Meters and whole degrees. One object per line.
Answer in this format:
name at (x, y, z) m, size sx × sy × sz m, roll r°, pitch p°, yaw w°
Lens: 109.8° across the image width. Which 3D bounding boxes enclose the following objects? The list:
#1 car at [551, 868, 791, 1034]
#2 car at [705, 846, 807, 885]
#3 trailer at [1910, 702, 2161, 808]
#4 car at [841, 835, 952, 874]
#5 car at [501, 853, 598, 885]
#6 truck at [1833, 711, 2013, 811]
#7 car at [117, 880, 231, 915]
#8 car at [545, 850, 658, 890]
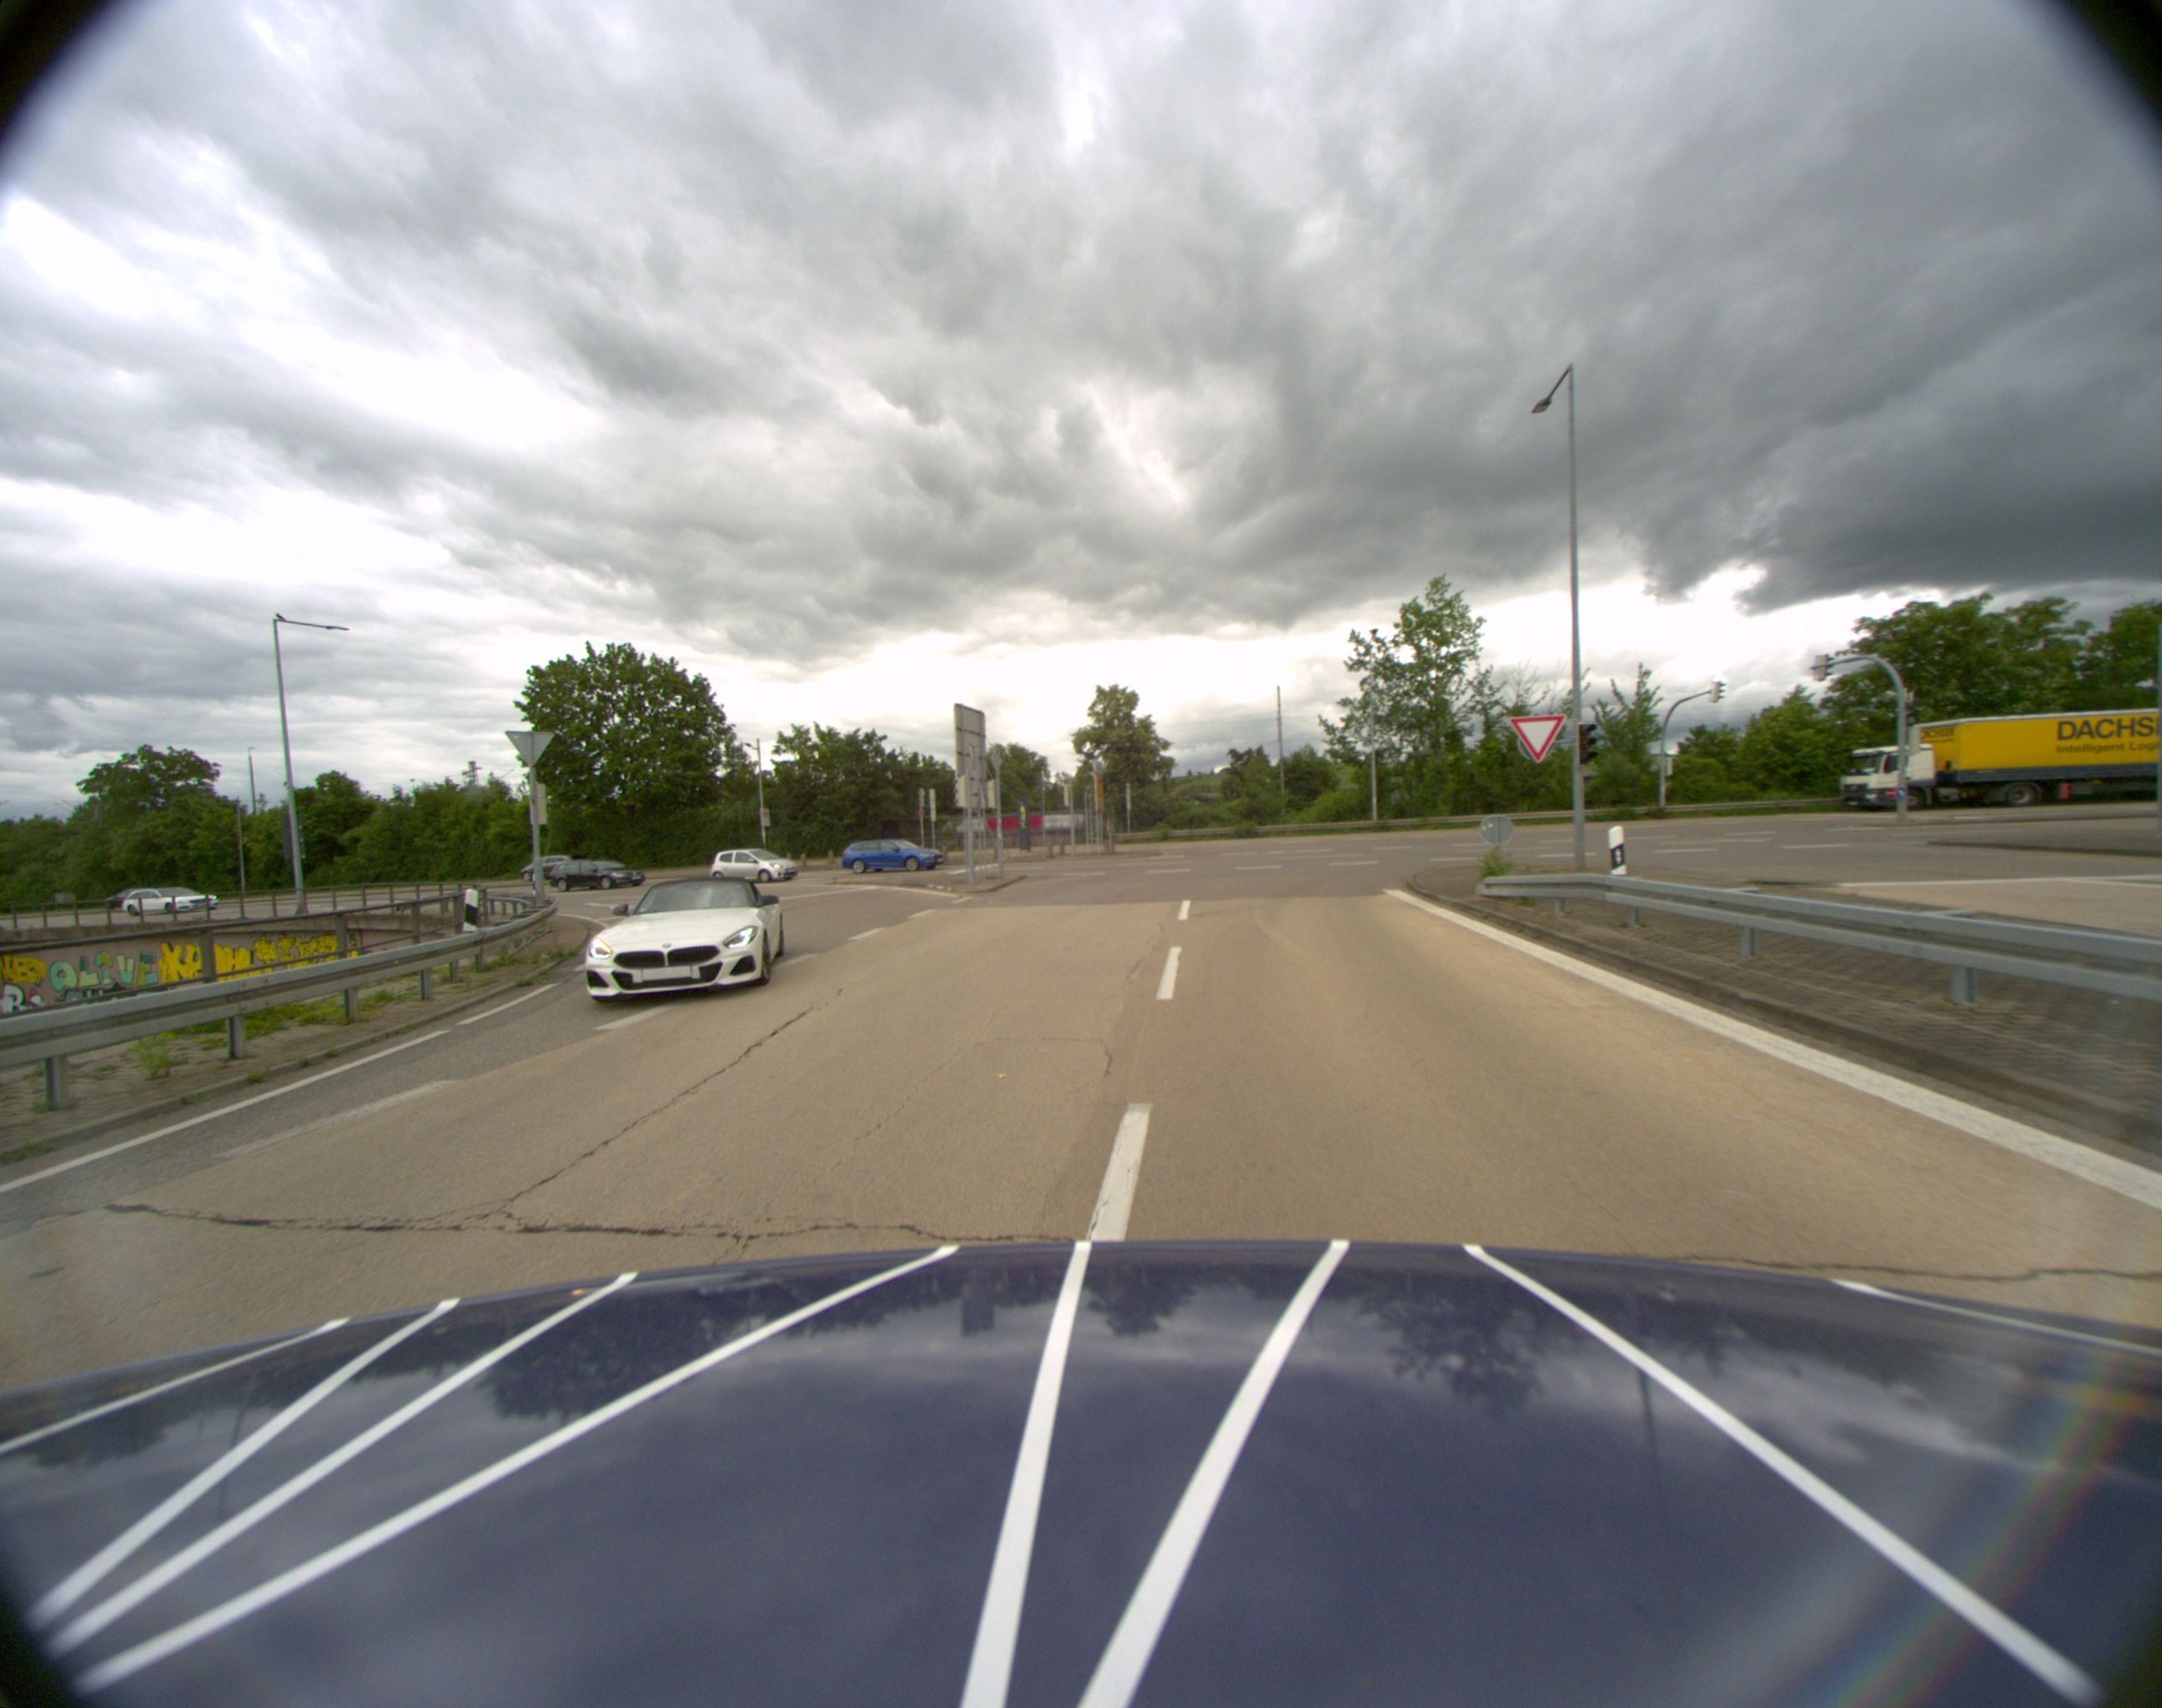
car at (-5.145, 1.033, 10.291) m, size 1.865 × 1.337 × 4.816 m, roll -5°, pitch 3°, yaw -17°
car at (-13.956, 0.482, 32.669) m, size 3.742 × 1.366 × 1.629 m, roll -3°, pitch 3°, yaw 16°
trailer at (45.714, -4.482, 34.250) m, size 11.634 × 4.181 × 2.637 m, roll -2°, pitch 3°, yaw 16°
car at (-8.266, 0.024, 34.038) m, size 4.534 × 1.446 × 1.611 m, roll -3°, pitch 3°, yaw 17°
car at (-36.344, 1.003, 52.029) m, size 5.484 × 1.746 × 2.135 m, roll -3°, pitch 3°, yaw 12°
truck at (39.648, -4.264, 35.995) m, size 5.092 × 4.181 × 2.637 m, roll -2°, pitch 3°, yaw 16°
car at (-50.410, 2.401, 42.270) m, size 4.708 × 1.552 × 1.878 m, roll -3°, pitch 3°, yaw 11°
car at (-22.564, 0.747, 35.779) m, size 4.287 × 1.548 × 1.949 m, roll -3°, pitch 3°, yaw 14°
